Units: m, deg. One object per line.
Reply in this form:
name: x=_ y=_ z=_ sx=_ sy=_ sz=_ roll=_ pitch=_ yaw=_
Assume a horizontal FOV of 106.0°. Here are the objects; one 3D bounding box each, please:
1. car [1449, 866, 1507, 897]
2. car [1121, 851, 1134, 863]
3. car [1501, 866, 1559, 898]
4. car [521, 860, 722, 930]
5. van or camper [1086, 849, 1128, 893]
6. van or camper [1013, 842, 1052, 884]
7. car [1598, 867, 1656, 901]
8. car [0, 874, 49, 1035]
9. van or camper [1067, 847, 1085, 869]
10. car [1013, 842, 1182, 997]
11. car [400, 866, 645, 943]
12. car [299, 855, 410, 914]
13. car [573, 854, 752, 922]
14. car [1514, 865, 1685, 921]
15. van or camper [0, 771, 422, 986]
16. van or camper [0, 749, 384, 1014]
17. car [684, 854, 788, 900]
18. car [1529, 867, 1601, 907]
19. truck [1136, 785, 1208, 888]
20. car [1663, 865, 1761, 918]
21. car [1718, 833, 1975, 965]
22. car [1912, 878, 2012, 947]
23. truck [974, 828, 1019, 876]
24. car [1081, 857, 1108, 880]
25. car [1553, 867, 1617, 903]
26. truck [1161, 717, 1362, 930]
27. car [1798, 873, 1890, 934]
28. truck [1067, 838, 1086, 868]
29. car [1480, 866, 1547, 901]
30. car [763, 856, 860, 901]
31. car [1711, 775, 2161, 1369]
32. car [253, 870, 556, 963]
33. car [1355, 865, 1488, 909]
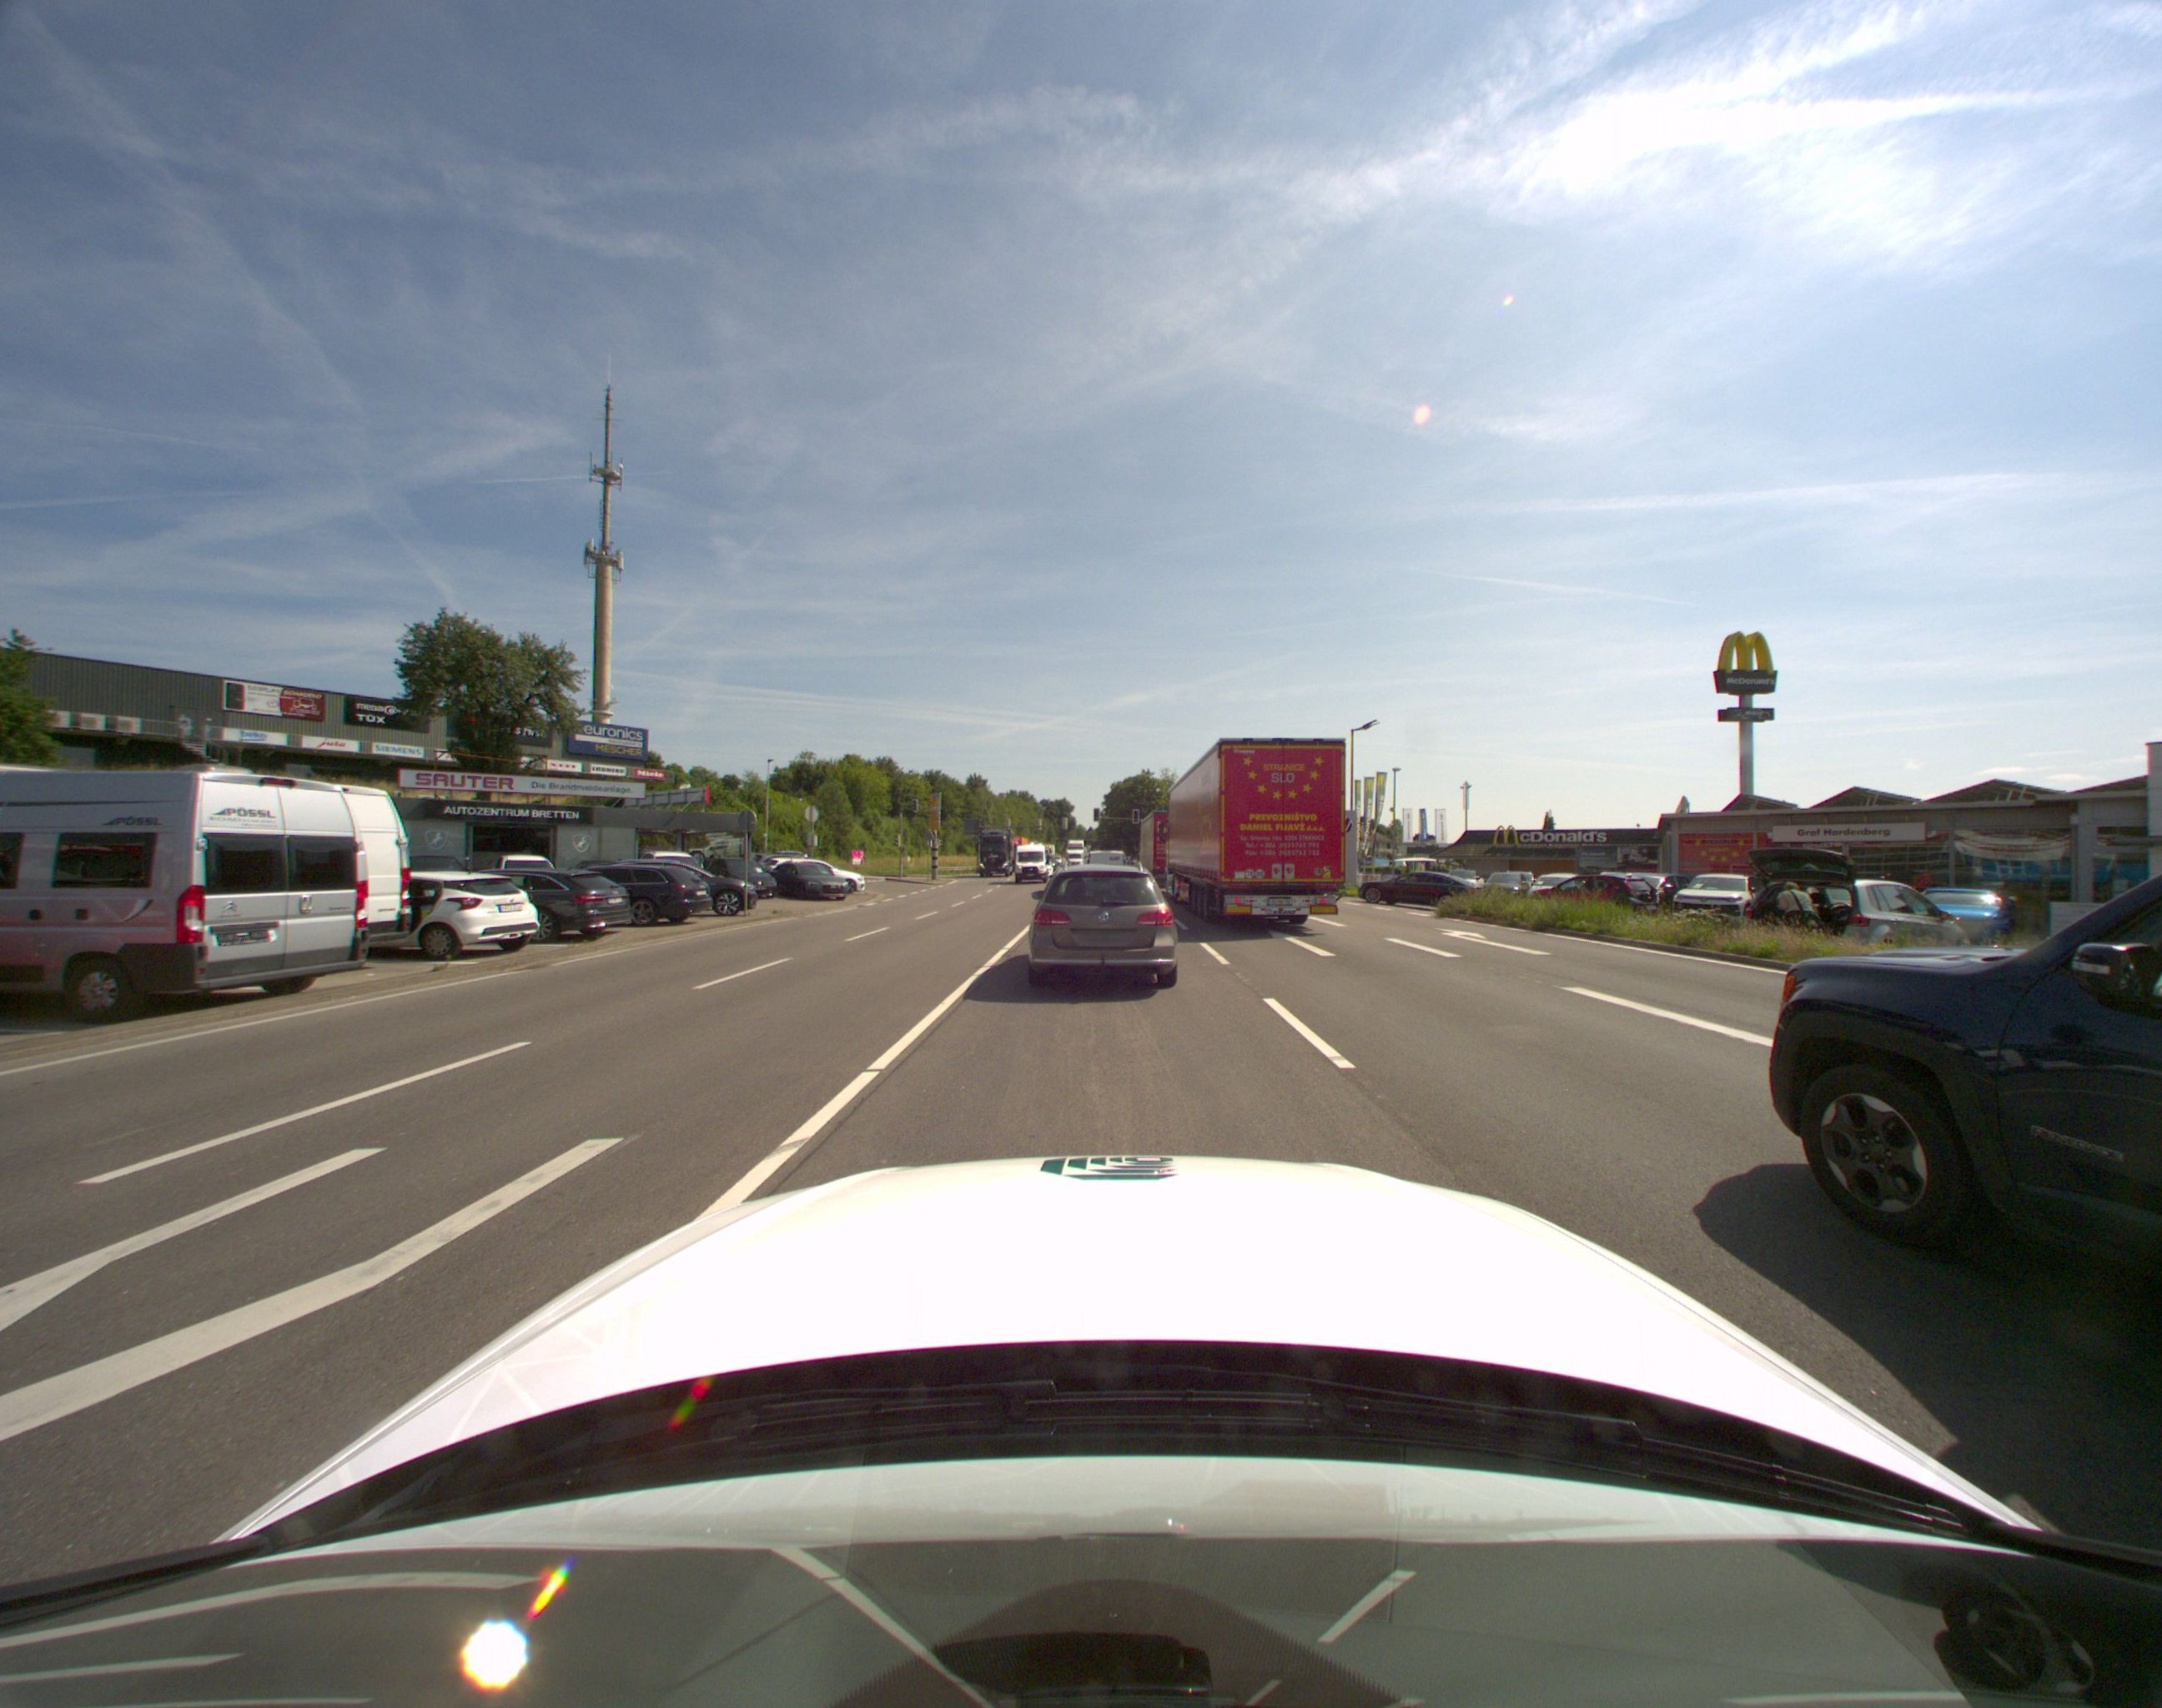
car: x=20.781 y=1.400 z=42.536 sx=3.284 sy=1.531 sz=1.743 roll=0 pitch=0 yaw=-45
car: x=6.224 y=0.456 z=109.367 sx=1.720 sy=1.519 sz=3.313 roll=0 pitch=-1 yaw=1
car: x=22.762 y=1.389 z=41.269 sx=3.284 sy=1.531 sz=1.743 roll=0 pitch=0 yaw=-45
car: x=-11.055 y=0.959 z=19.786 sx=3.803 sy=1.539 sz=1.843 roll=-1 pitch=0 yaw=1
van or camper: x=1.165 y=0.750 z=36.938 sx=1.846 sy=1.906 sz=3.785 roll=0 pitch=0 yaw=1
van or camper: x=-3.082 y=0.556 z=52.244 sx=2.165 sy=2.551 sz=4.171 roll=0 pitch=0 yaw=1
car: x=26.625 y=1.407 z=39.702 sx=3.617 sy=1.531 sz=1.666 roll=0 pitch=0 yaw=-45
car: x=-11.793 y=0.969 z=7.010 sx=3.579 sy=1.480 sz=1.813 roll=-1 pitch=0 yaw=2
van or camper: x=-0.678 y=0.557 z=109.774 sx=2.216 sy=2.841 sz=5.712 roll=0 pitch=-1 yaw=2
car: x=0.329 y=0.727 z=10.502 sx=1.781 sy=1.638 sz=3.508 roll=-1 pitch=-1 yaw=5
car: x=-11.514 y=1.005 z=16.991 sx=3.803 sy=1.448 sz=1.843 roll=-1 pitch=0 yaw=1
car: x=-21.545 y=0.851 z=24.305 sx=1.775 sy=1.588 sz=3.791 roll=-1 pitch=0 yaw=-31
car: x=-11.141 y=0.883 z=21.877 sx=3.803 sy=1.675 sz=1.843 roll=-1 pitch=0 yaw=1
car: x=15.732 y=1.109 z=24.929 sx=2.004 sy=1.531 sz=3.965 roll=0 pitch=0 yaw=-27
van or camper: x=-13.645 y=0.333 z=12.103 sx=5.868 sy=2.873 sz=2.291 roll=0 pitch=0 yaw=2
van or camper: x=-11.746 y=0.302 z=9.595 sx=5.223 sy=2.731 sz=2.212 roll=0 pitch=0 yaw=3
car: x=-13.483 y=0.882 z=31.835 sx=3.780 sy=1.693 sz=1.854 roll=-1 pitch=-1 yaw=31
car: x=19.930 y=1.305 z=33.486 sx=3.617 sy=1.531 sz=1.666 roll=0 pitch=0 yaw=-45
truck: x=5.176 y=-0.845 z=49.736 sx=3.051 sy=5.221 sz=17.013 roll=0 pitch=0 yaw=2
car: x=20.199 y=1.120 z=26.030 sx=4.023 sy=1.531 sz=1.975 roll=0 pitch=0 yaw=-45
car: x=12.573 y=0.659 z=13.383 sx=3.850 sy=1.921 sz=1.689 roll=0 pitch=0 yaw=-23
car: x=23.461 y=1.483 z=21.754 sx=3.807 sy=1.557 sz=1.682 roll=0 pitch=0 yaw=-43
truck: x=-7.104 y=-0.144 z=69.243 sx=2.802 sy=3.786 sz=6.991 roll=-2 pitch=0 yaw=1
car: x=0.977 y=1.005 z=56.661 sx=1.719 sy=1.519 sz=3.315 roll=0 pitch=-1 yaw=3
car: x=22.880 y=1.364 z=36.919 sx=3.617 sy=1.531 sz=1.666 roll=0 pitch=0 yaw=-45
truck: x=4.445 y=-0.582 z=24.697 sx=2.946 sy=4.270 sz=16.590 roll=0 pitch=0 yaw=2
car: x=22.260 y=1.360 z=23.707 sx=4.251 sy=1.531 sz=1.781 roll=0 pitch=0 yaw=-45
truck: x=-0.637 y=-0.130 z=124.731 sx=2.543 sy=4.307 sz=7.598 roll=-2 pitch=0 yaw=2
car: x=20.223 y=1.323 z=38.020 sx=3.650 sy=1.531 sz=1.747 roll=0 pitch=0 yaw=-45
car: x=-11.062 y=0.974 z=33.305 sx=2.143 sy=1.693 sz=4.474 roll=-1 pitch=-1 yaw=-42
car: x=3.944 y=0.600 z=1.976 sx=1.812 sy=1.685 sz=4.002 roll=-1 pitch=0 yaw=2
car: x=-11.824 y=1.055 z=14.431 sx=3.803 sy=1.448 sz=1.843 roll=-1 pitch=0 yaw=1
car: x=12.492 y=1.177 z=30.051 sx=4.148 sy=1.455 sz=1.858 roll=0 pitch=0 yaw=44
